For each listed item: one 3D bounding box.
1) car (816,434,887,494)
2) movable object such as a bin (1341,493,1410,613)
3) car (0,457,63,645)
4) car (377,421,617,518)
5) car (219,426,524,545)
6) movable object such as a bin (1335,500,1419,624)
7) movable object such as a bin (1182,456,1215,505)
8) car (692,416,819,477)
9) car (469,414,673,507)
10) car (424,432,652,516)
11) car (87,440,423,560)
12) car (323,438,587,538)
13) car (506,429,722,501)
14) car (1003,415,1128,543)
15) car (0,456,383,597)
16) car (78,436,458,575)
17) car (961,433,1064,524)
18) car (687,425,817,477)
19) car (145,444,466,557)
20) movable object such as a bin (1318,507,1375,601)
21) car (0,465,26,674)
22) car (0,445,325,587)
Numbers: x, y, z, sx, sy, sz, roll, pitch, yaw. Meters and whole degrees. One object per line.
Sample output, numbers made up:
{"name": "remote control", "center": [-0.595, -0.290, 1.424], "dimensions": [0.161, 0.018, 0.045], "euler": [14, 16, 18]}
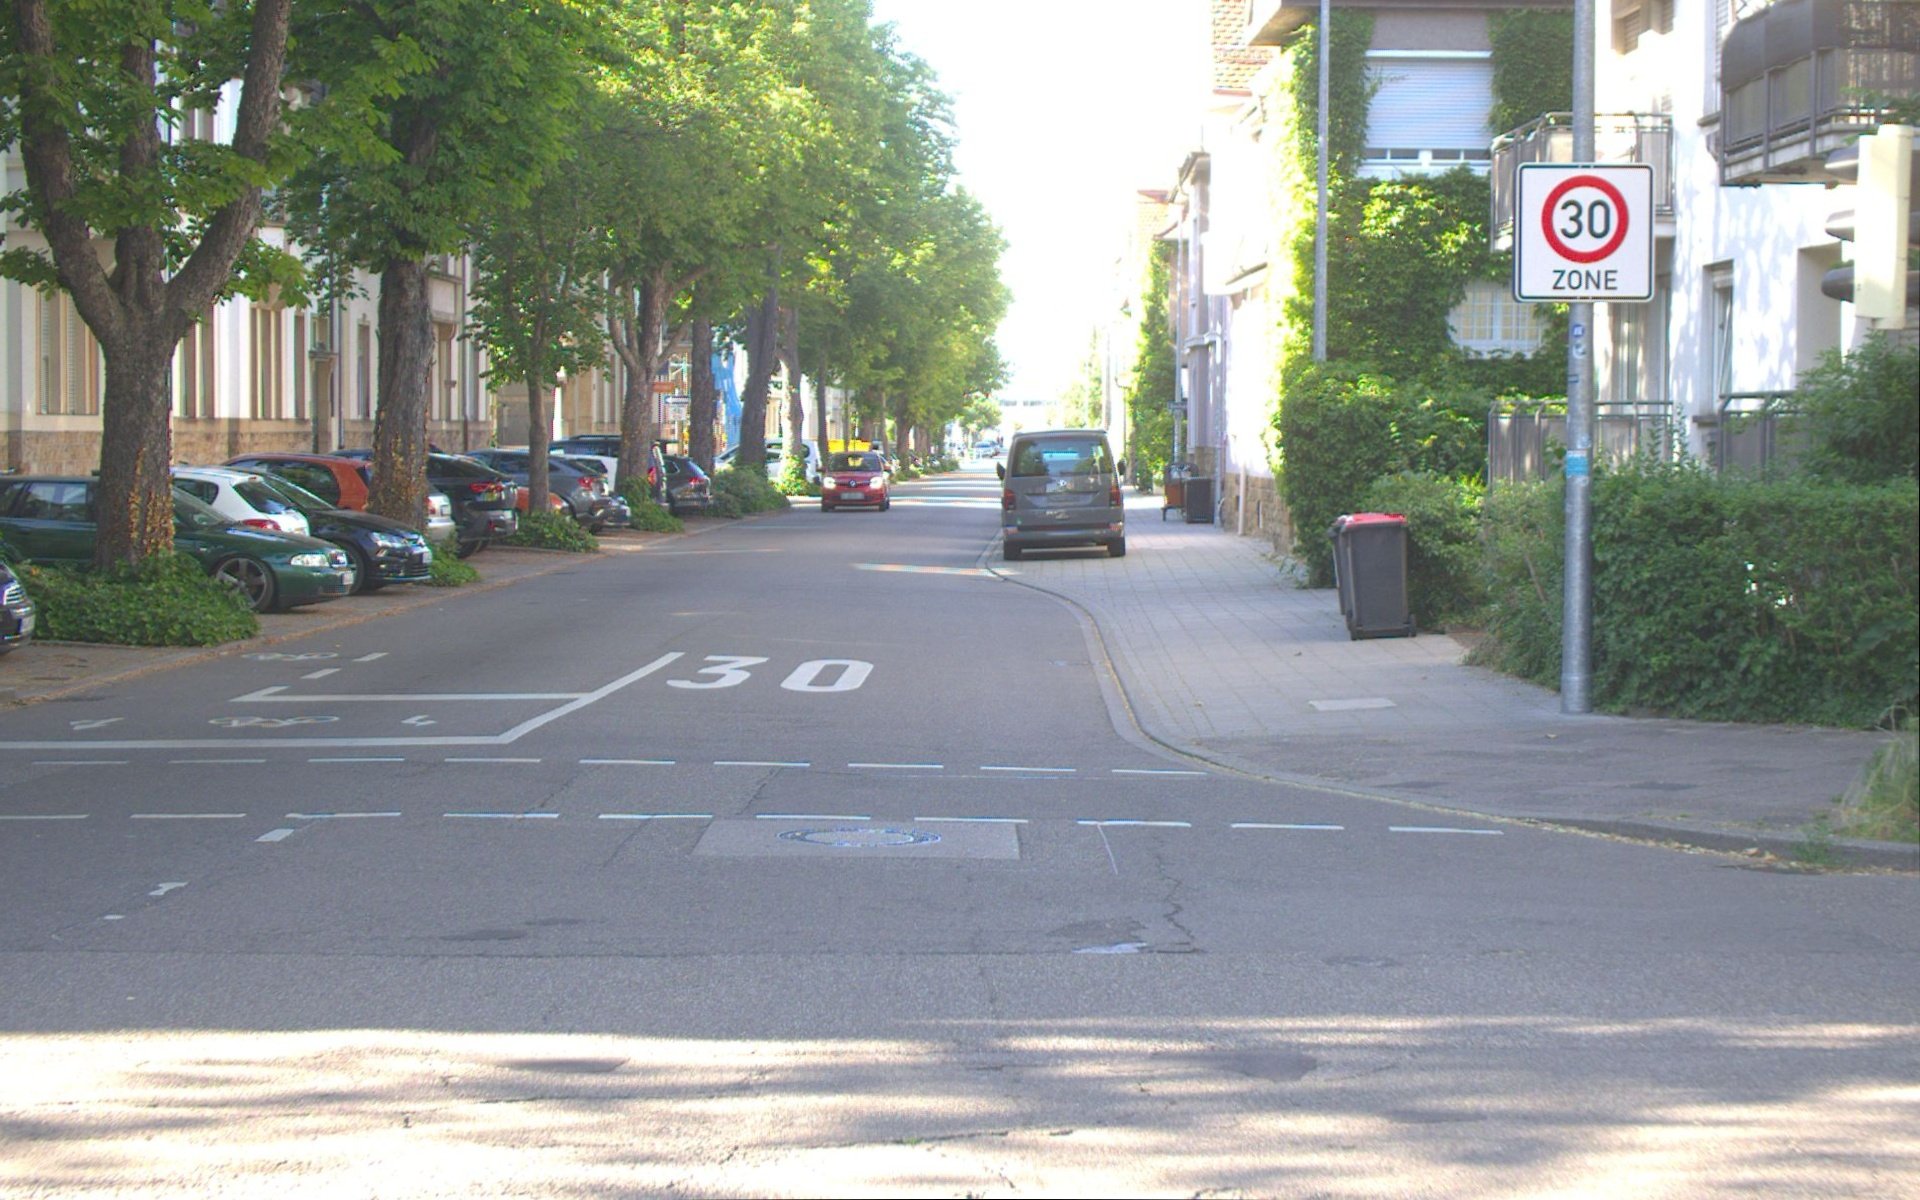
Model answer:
{"name": "car", "center": [-2.775, -3.524, 88.744], "dimensions": [1.641, 1.503, 3.703], "euler": [-1, 3, 1]}
{"name": "movable object such as a bin", "center": [3.766, -0.428, 31.157], "dimensions": [0.483, 1.040, 0.657], "euler": [-3, 3, -1]}
{"name": "car", "center": [-9.139, -0.412, 26.872], "dimensions": [3.881, 1.410, 1.616], "euler": [0, 3, -4]}
{"name": "car", "center": [-8.227, -2.338, 61.315], "dimensions": [3.987, 1.586, 1.859], "euler": [2, 3, 1]}
{"name": "car", "center": [-8.424, -1.661, 49.439], "dimensions": [3.987, 1.561, 1.863], "euler": [2, 3, 3]}
{"name": "movable object such as a bin", "center": [3.671, -0.341, 30.313], "dimensions": [0.597, 1.040, 0.707], "euler": [-3, 3, -1]}
{"name": "movable object such as a bin", "center": [5.182, -2.590, 74.590], "dimensions": [0.647, 1.036, 0.828], "euler": [0, 3, -1]}
{"name": "car", "center": [-6.559, -4.941, 110.625], "dimensions": [3.986, 1.754, 1.798], "euler": [2, 2, -2]}
{"name": "car", "center": [-8.018, -2.887, 71.071], "dimensions": [3.979, 1.849, 1.829], "euler": [1, 3, 0]}
{"name": "car", "center": [-7.912, -2.375, 64.612], "dimensions": [3.903, 1.441, 1.859], "euler": [2, 3, 6]}
{"name": "car", "center": [-9.186, -1.321, 44.980], "dimensions": [3.987, 1.502, 1.722], "euler": [0, 3, 3]}
{"name": "car", "center": [-8.153, -1.823, 55.708], "dimensions": [3.987, 1.509, 1.747], "euler": [1, 2, 1]}
{"name": "car", "center": [-7.608, -2.987, 75.864], "dimensions": [4.532, 1.497, 1.892], "euler": [1, 3, 0]}
{"name": "car", "center": [1.656, -1.939, 53.956], "dimensions": [1.865, 1.909, 4.783], "euler": [0, 3, 2]}
{"name": "car", "center": [-8.177, -0.773, 35.218], "dimensions": [4.212, 1.344, 1.703], "euler": [1, 2, 1]}
{"name": "car", "center": [-7.989, -1.117, 39.907], "dimensions": [3.987, 1.477, 1.785], "euler": [1, 3, 3]}
{"name": "car", "center": [1.029, -2.339, 65.489], "dimensions": [1.789, 1.594, 4.000], "euler": [-2, 3, 3]}
{"name": "car", "center": [-6.554, -4.701, 108.399], "dimensions": [3.986, 1.459, 1.798], "euler": [2, 2, -2]}
{"name": "car", "center": [-8.976, -1.387, 47.332], "dimensions": [3.987, 1.398, 1.830], "euler": [2, 3, 3]}
{"name": "movable object such as a bin", "center": [3.929, -0.471, 35.011], "dimensions": [0.503, 0.912, 0.573], "euler": [-3, 3, 4]}
{"name": "car", "center": [-8.738, -0.192, 24.154], "dimensions": [3.882, 1.470, 1.615], "euler": [0, 2, 1]}
{"name": "car", "center": [-8.848, -0.929, 37.538], "dimensions": [3.434, 1.447, 1.703], "euler": [1, 2, 4]}
